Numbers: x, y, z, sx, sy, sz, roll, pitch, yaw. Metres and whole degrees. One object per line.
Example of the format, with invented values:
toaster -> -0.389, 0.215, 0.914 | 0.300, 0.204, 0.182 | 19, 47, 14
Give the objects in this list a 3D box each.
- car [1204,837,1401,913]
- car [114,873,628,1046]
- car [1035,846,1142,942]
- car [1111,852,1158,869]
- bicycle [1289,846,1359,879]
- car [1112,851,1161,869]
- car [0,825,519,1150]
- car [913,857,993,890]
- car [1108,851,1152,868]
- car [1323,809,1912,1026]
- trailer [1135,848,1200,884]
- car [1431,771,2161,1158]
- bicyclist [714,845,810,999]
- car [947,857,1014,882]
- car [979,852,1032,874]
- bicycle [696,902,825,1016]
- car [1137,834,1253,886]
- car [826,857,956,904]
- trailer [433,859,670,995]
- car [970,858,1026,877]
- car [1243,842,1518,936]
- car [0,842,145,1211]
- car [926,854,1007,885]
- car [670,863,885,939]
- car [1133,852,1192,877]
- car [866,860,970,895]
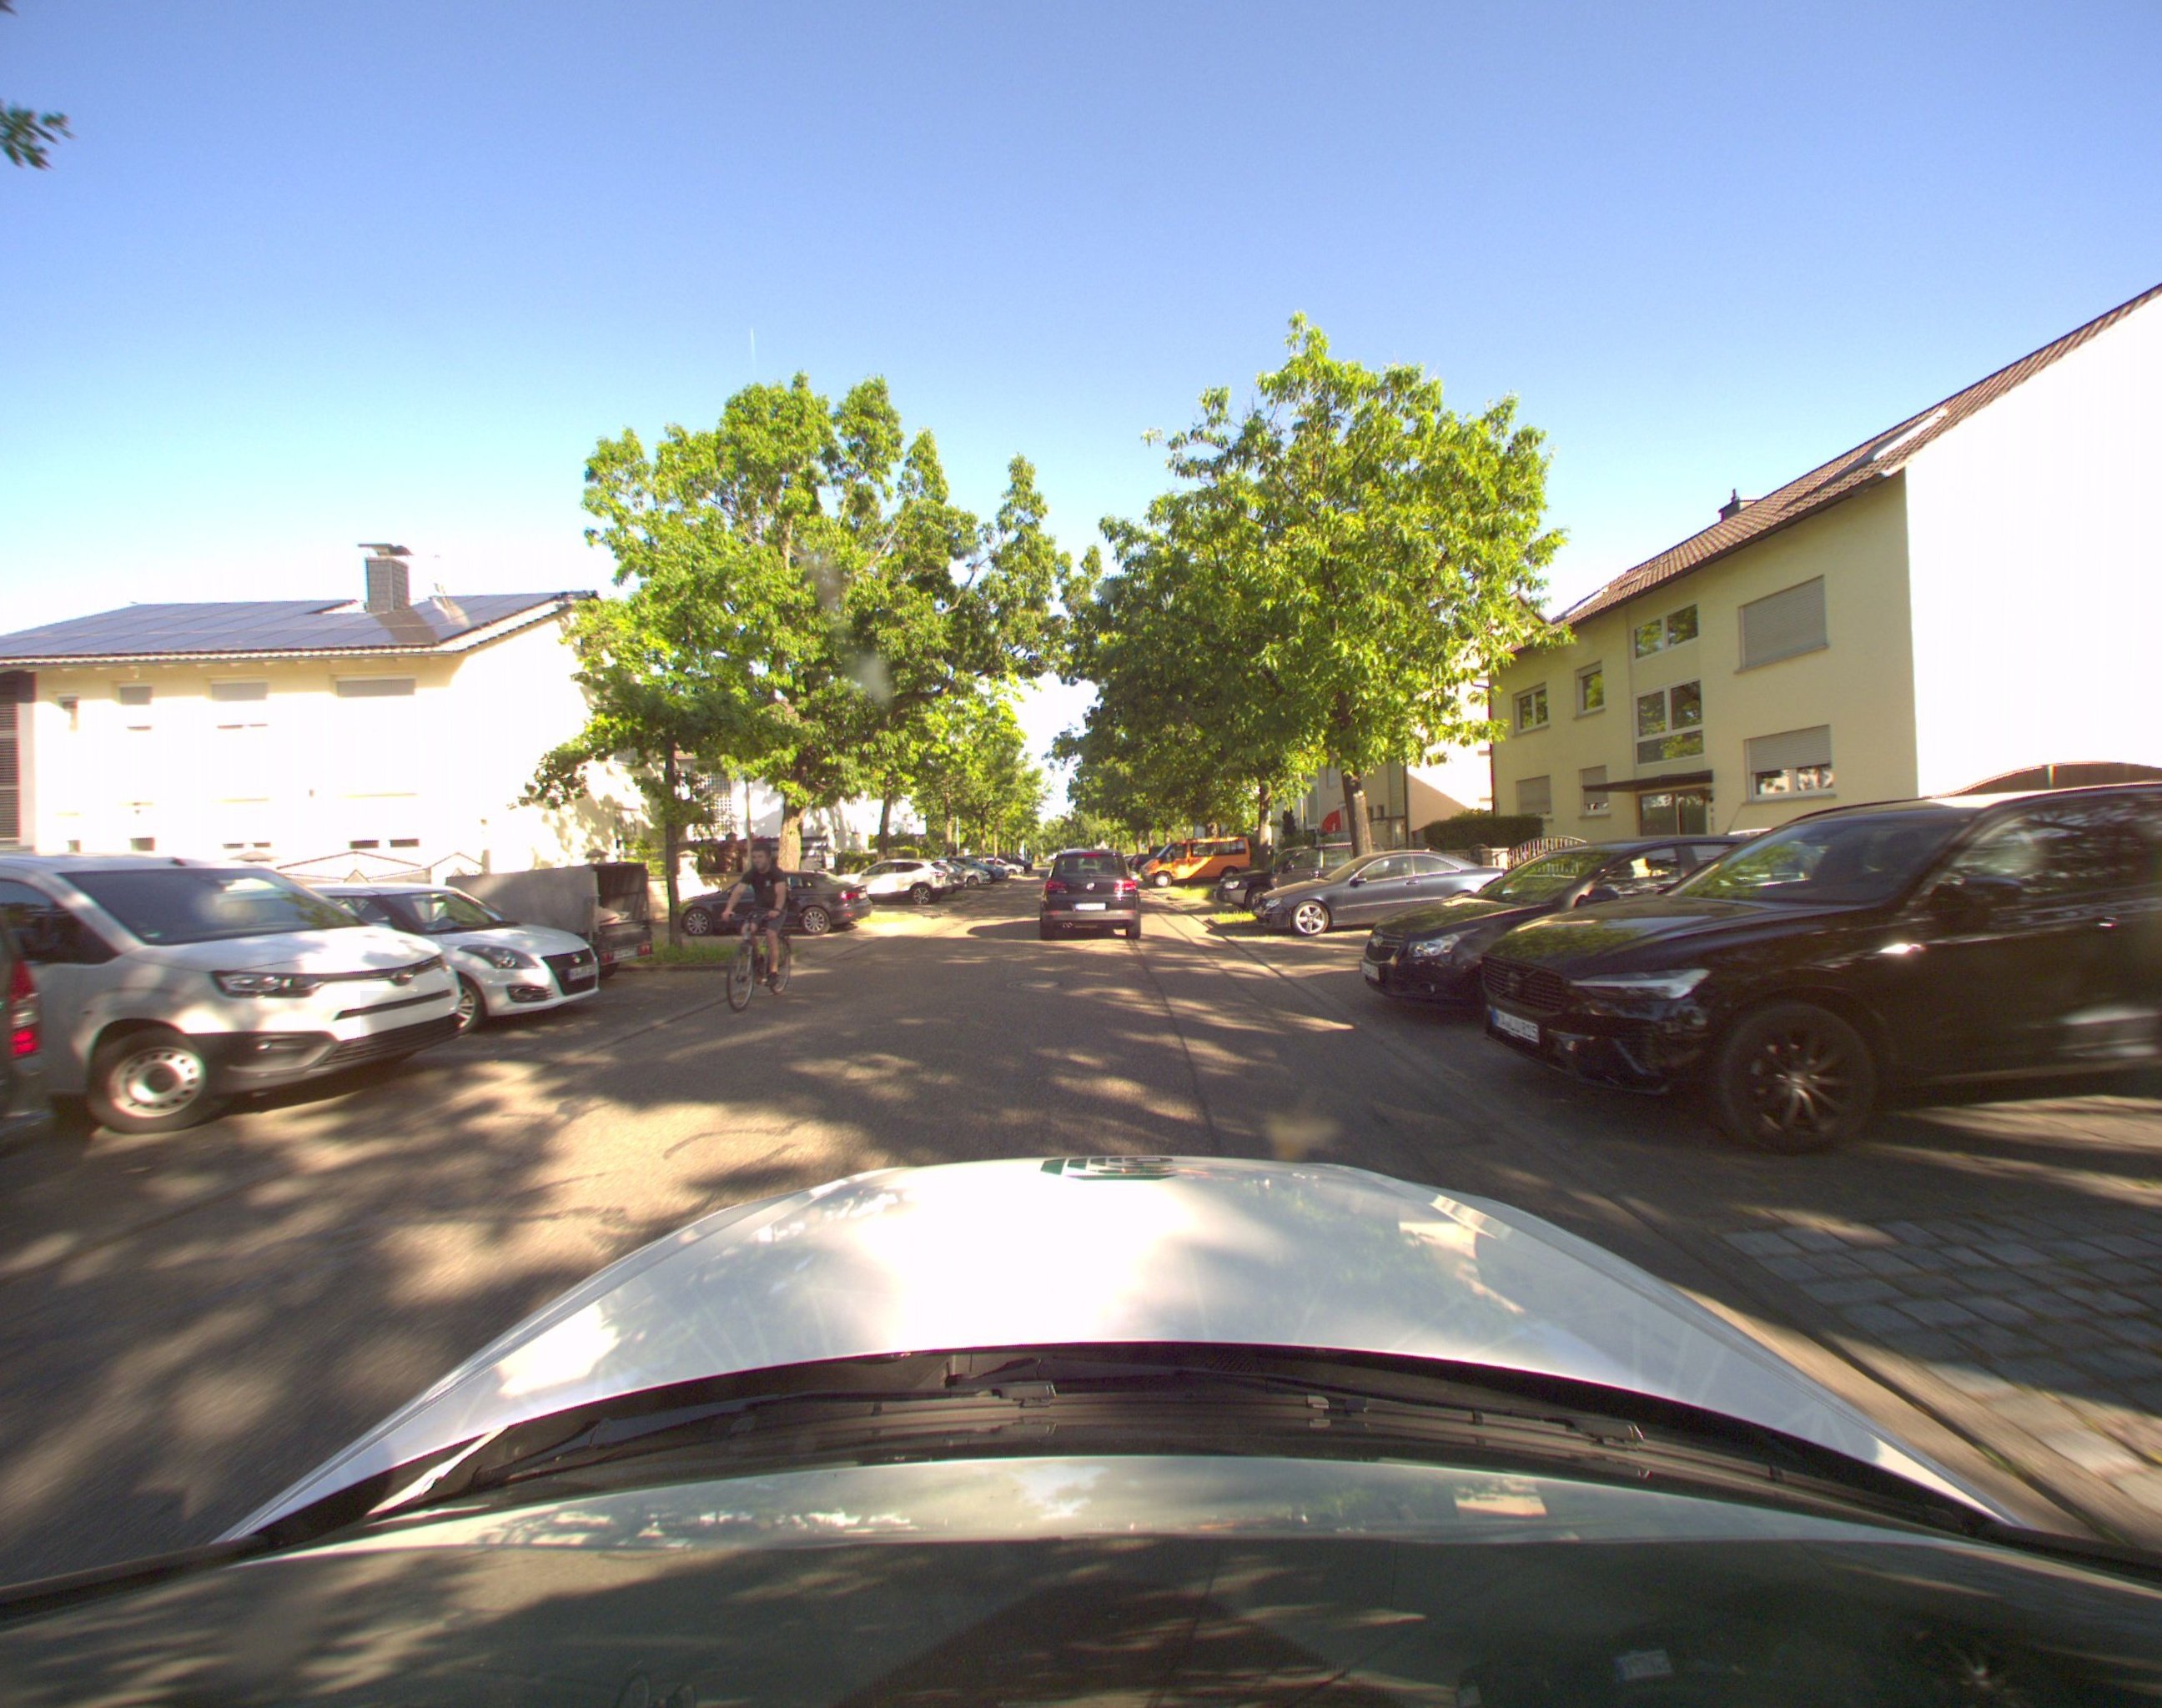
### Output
car -> 5.417, 0.497, 20.317 | 4.325, 1.560, 1.867 | -3, 0, -1
car -> -7.365, 1.044, 8.753 | 3.974, 1.516, 1.690 | -2, 0, 0
car -> 0.206, 0.701, 16.013 | 1.831, 1.636, 3.960 | 0, 0, 2
car -> 5.060, 0.635, 76.973 | 4.264, 1.414, 1.796 | -3, 0, -1
bicycle -> 10.633, 0.359, 35.638 | 2.849, 1.237, 0.468 | -4, -1, 0
car -> 5.023, 0.574, 74.174 | 4.334, 1.363, 1.872 | -3, -1, -2
car -> -7.041, 0.892, 6.054 | 4.225, 1.944, 1.998 | -2, -1, -2
car -> -6.898, 1.057, 44.180 | 3.974, 1.595, 1.857 | -2, -1, 0
car -> 4.900, 0.566, 81.975 | 4.264, 1.503, 1.796 | -3, 0, -1
car -> 4.746, 0.523, 7.698 | 4.306, 1.529, 1.840 | -4, 0, 0
trailer -> 4.316, 0.584, 41.050 | 2.942, 1.664, 1.611 | -2, 0, -6
car -> 4.754, 0.457, 4.765 | 4.558, 1.646, 1.838 | -4, 0, 0
bicyclist -> -3.745, 0.763, 9.619 | 0.593, 1.674, 0.976 | -5, 0, 2
car -> -6.624, 1.042, 53.999 | 4.169, 1.492, 1.646 | -2, -1, 0
car -> -6.960, 0.782, 75.816 | 4.767, 1.917, 2.017 | -1, 0, -3
bicycle -> -3.711, 1.171, 9.623 | 0.594, 1.058, 1.987 | -5, 0, 2
car -> 5.017, 0.266, 36.339 | 4.803, 2.083, 2.086 | -2, 0, 0
car -> -6.690, 0.928, 28.981 | 4.172, 1.567, 1.793 | 0, 0, 1
trailer -> -7.199, 0.950, 11.214 | 2.225, 1.673, 1.476 | -2, 0, 4
car -> -6.597, 1.079, 65.239 | 4.263, 1.478, 1.768 | -1, 0, -1
car -> 5.368, 0.613, 15.020 | 4.410, 1.331, 1.692 | -4, 0, 2
car -> -7.292, 0.856, 3.452 | 4.227, 1.770, 1.966 | -1, 0, -2
car -> -6.781, 0.946, 48.636 | 4.509, 1.631, 1.937 | -2, -1, 0
car -> -6.838, 1.038, 18.645 | 4.197, 1.471, 1.690 | -2, 0, 0
car -> 5.516, 0.711, 55.371 | 3.870, 1.516, 1.661 | -2, 1, 0
car -> -6.821, 0.967, 34.366 | 4.022, 1.423, 1.809 | 0, 0, -2
